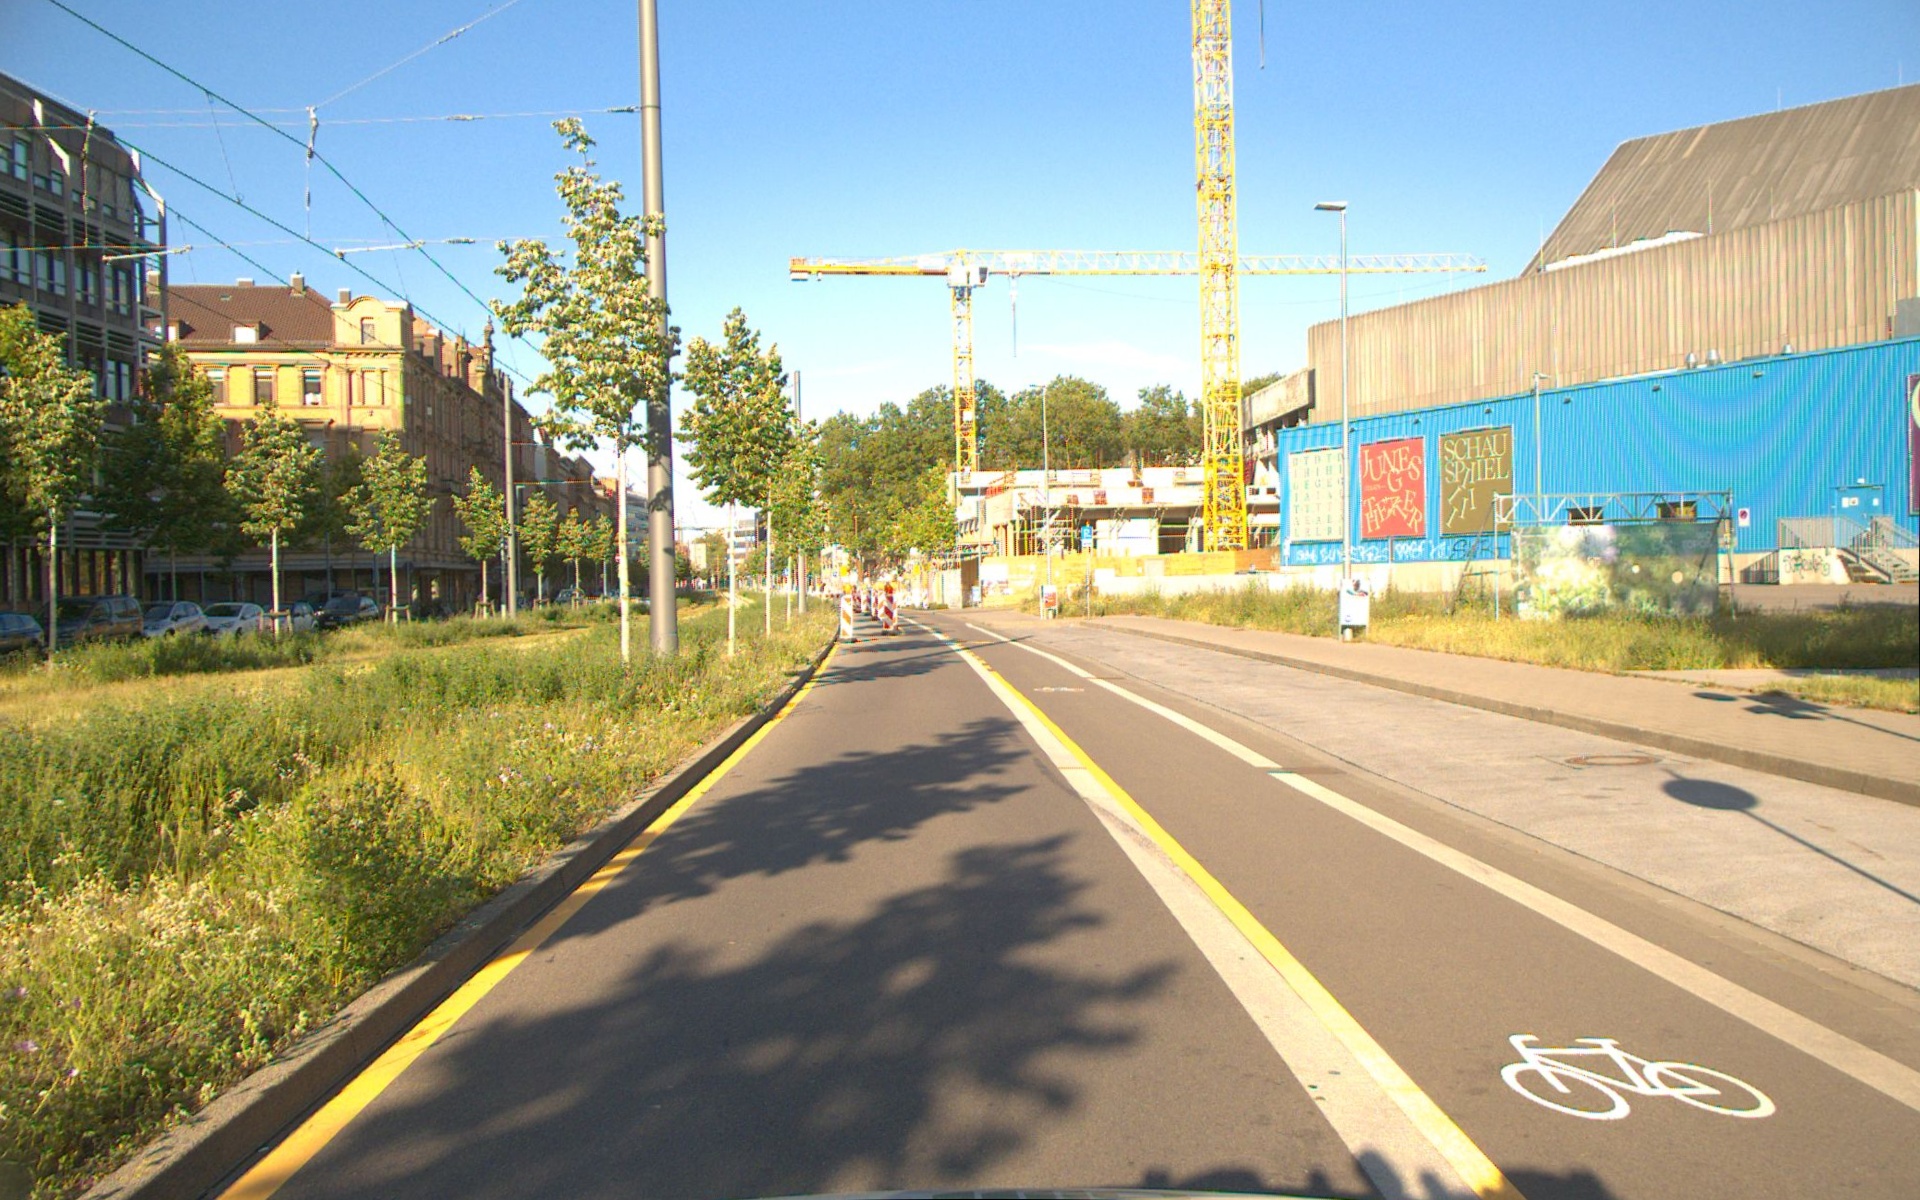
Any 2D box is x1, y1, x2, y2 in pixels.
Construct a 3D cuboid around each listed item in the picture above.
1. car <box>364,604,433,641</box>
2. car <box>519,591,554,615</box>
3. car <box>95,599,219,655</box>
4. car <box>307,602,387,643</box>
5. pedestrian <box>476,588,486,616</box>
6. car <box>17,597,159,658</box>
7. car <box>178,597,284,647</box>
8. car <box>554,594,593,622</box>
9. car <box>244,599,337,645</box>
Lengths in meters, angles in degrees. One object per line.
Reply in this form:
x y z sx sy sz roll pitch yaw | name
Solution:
-27.065 1.066 79.827 1.865 1.602 4.300 -2 1 -1 | car
-30.456 0.213 118.945 1.868 1.602 4.294 -2 1 -7 | car
-25.477 0.829 52.645 1.865 1.602 4.300 -2 1 -1 | car
-26.611 0.946 71.964 1.865 1.602 4.300 -2 1 -1 | car
-33.166 0.138 114.559 0.539 1.981 0.649 -2 0 -9 | pedestrian
-25.338 0.764 48.221 1.865 1.602 4.300 -2 1 -1 | car
-25.695 0.736 58.443 1.865 1.602 4.300 -2 1 -1 | car
-23.936 0.487 102.629 1.868 1.602 4.294 -2 1 -7 | car
-26.011 0.826 64.379 1.865 1.602 4.300 -2 1 -1 | car
